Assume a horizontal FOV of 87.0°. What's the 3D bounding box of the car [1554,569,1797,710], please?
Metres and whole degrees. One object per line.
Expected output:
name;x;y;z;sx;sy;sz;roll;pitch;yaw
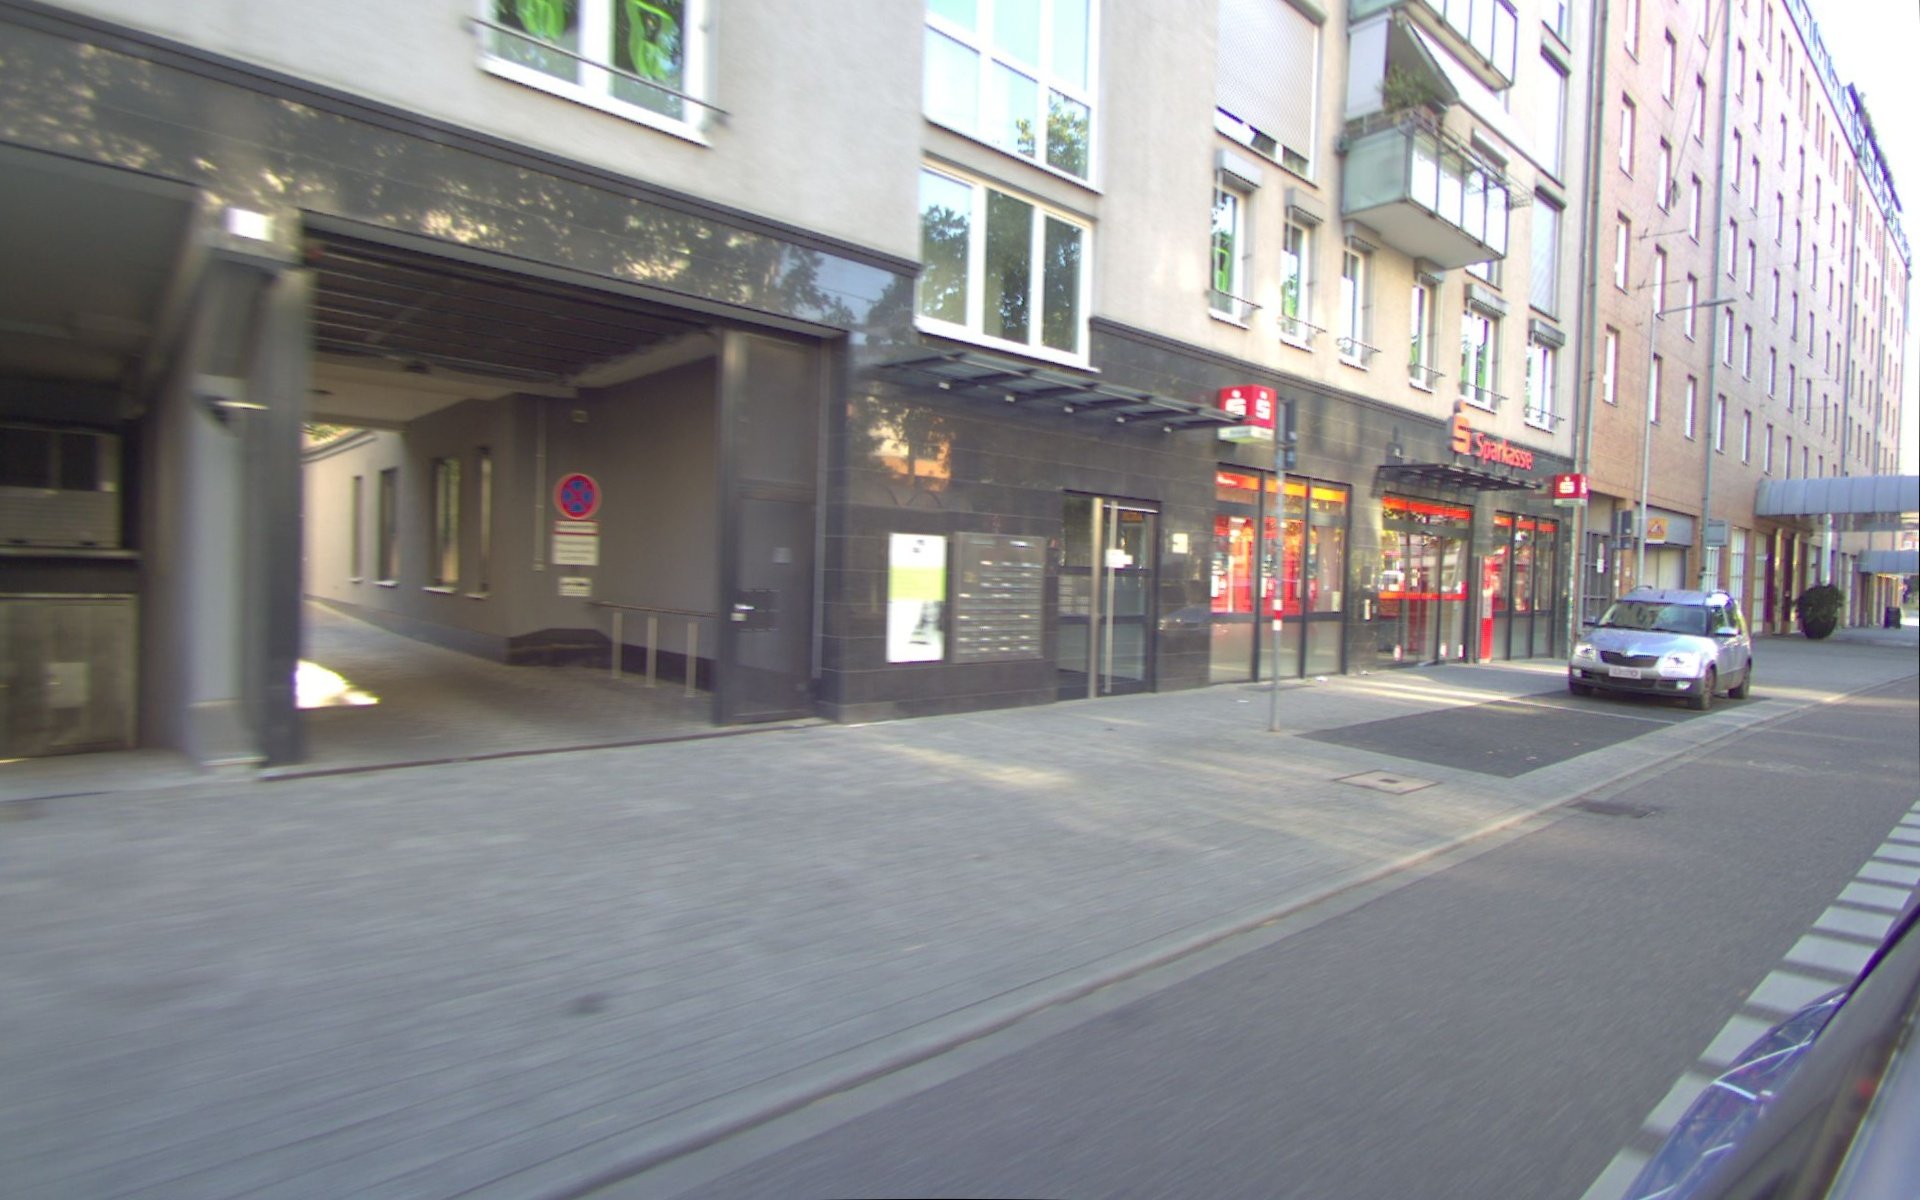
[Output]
car;10.491;0.463;14.729;4.209;1.642;1.837;0;5;-41
